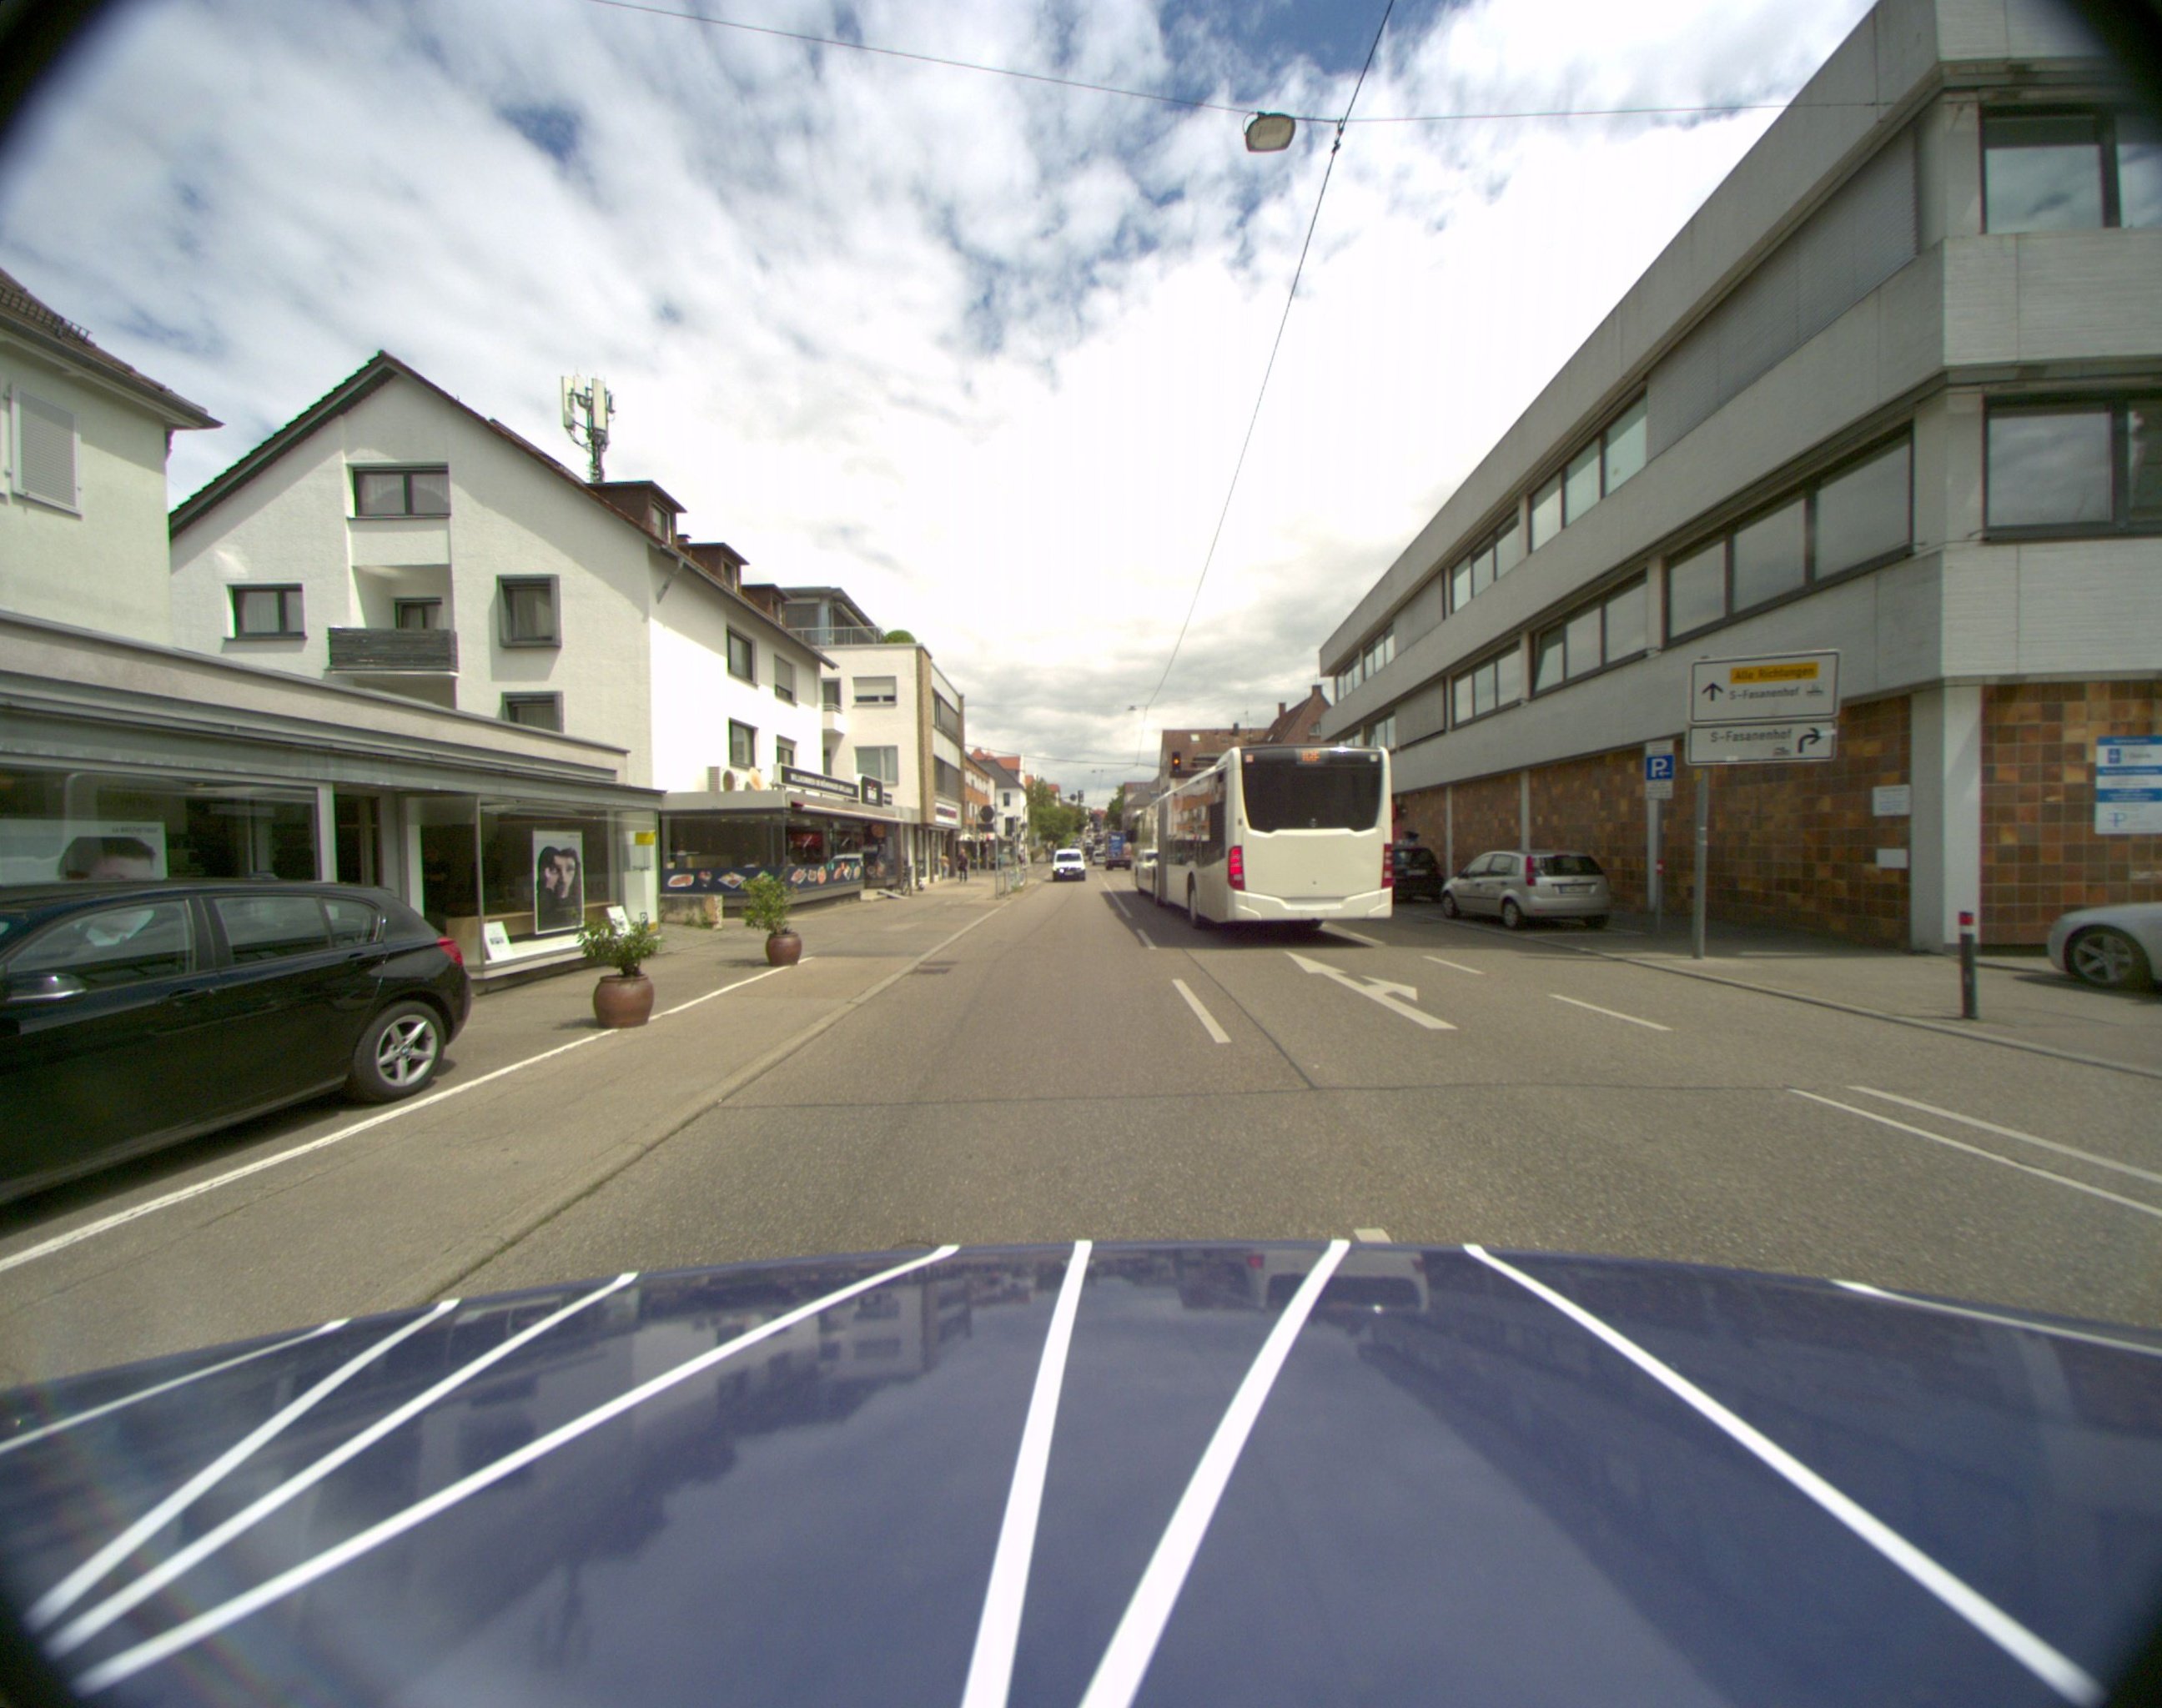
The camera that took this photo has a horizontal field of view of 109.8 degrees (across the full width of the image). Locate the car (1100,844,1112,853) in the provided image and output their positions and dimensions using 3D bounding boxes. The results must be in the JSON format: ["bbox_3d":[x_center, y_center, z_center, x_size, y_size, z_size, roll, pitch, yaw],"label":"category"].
[{"bbox_3d":[4.823,-1.026,144.847,2.111,1.778,4.529,-1,1,0],"label":"car"}]

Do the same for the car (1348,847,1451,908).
[{"bbox_3d":[8.859,0.609,21.371,1.740,1.547,3.057,-2,0,4],"label":"car"}]

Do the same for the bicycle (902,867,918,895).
[{"bbox_3d":[-6.559,1.030,29.155,0.476,1.022,1.634,-1,1,-9],"label":"bicycle"}]

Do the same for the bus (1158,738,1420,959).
[{"bbox_3d":[3.409,-0.112,14.964,2.723,3.145,8.066,-1,1,-2],"label":"bus"}]

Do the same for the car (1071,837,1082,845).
[{"bbox_3d":[-0.976,-2.849,165.639,2.149,1.747,3.973,0,0,1],"label":"car"}]

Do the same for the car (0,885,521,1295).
[{"bbox_3d":[-5.128,0.968,3.378,1.973,1.439,4.534,0,0,-1],"label":"car"}]

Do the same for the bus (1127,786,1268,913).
[{"bbox_3d":[3.230,-0.160,24.059,2.689,3.145,10.182,-1,1,-1],"label":"bus"}]

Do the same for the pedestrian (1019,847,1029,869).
[{"bbox_3d":[-4.706,0.347,62.592,0.581,1.820,0.882,1,1,16],"label":"pedestrian"}]

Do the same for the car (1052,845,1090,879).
[{"bbox_3d":[-0.595,0.414,43.426,2.000,1.797,4.764,-1,0,-2],"label":"car"}]

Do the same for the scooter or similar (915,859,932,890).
[{"bbox_3d":[-6.610,0.852,31.869,0.690,1.260,1.184,-1,1,-12],"label":"scooter or similar"}]

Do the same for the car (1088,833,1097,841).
[{"bbox_3d":[2.990,-4.491,201.066,1.982,1.985,5.027,0,0,-2],"label":"car"}]

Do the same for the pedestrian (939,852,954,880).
[{"bbox_3d":[-7.248,0.640,41.057,0.681,1.490,0.720,-1,1,0],"label":"pedestrian"}]

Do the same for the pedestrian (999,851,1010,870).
[{"bbox_3d":[-6.226,0.528,61.760,0.779,1.517,0.819,0,1,3],"label":"pedestrian"}]

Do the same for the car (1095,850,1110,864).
[{"bbox_3d":[2.780,0.372,98.948,1.950,1.810,4.278,-1,0,0],"label":"car"}]

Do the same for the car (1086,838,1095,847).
[{"bbox_3d":[1.927,-2.295,153.717,1.819,1.919,4.112,0,0,1],"label":"car"}]

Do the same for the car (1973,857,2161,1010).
[{"bbox_3d":[10.775,0.740,6.016,1.955,1.350,4.856,-1,0,4],"label":"car"}]

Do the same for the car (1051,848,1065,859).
[{"bbox_3d":[-3.506,-0.083,115.724,1.998,1.654,4.000,-1,0,0],"label":"car"}]

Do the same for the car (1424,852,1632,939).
[{"bbox_3d":[8.569,0.705,15.035,1.726,1.414,4.148,-2,0,2],"label":"car"}]

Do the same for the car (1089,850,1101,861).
[{"bbox_3d":[2.166,0.279,116.613,1.681,1.626,2.833,-1,0,-1],"label":"car"}]

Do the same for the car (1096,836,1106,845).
[{"bbox_3d":[4.737,-3.170,177.964,2.111,2.109,4.765,-1,1,0],"label":"car"}]

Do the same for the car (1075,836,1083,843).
[{"bbox_3d":[-0.508,-3.756,193.948,2.149,1.747,3.973,0,0,1],"label":"car"}]

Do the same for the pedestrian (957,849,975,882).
[{"bbox_3d":[-5.742,0.563,38.009,0.797,1.661,0.807,0,1,0],"label":"pedestrian"}]

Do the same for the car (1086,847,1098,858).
[{"bbox_3d":[1.876,-0.298,133.456,1.953,1.866,4.875,-1,1,-1],"label":"car"}]

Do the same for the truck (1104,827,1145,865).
[{"bbox_3d":[3.646,-0.680,65.563,2.861,3.075,8.087,-1,1,-1],"label":"truck"}]
